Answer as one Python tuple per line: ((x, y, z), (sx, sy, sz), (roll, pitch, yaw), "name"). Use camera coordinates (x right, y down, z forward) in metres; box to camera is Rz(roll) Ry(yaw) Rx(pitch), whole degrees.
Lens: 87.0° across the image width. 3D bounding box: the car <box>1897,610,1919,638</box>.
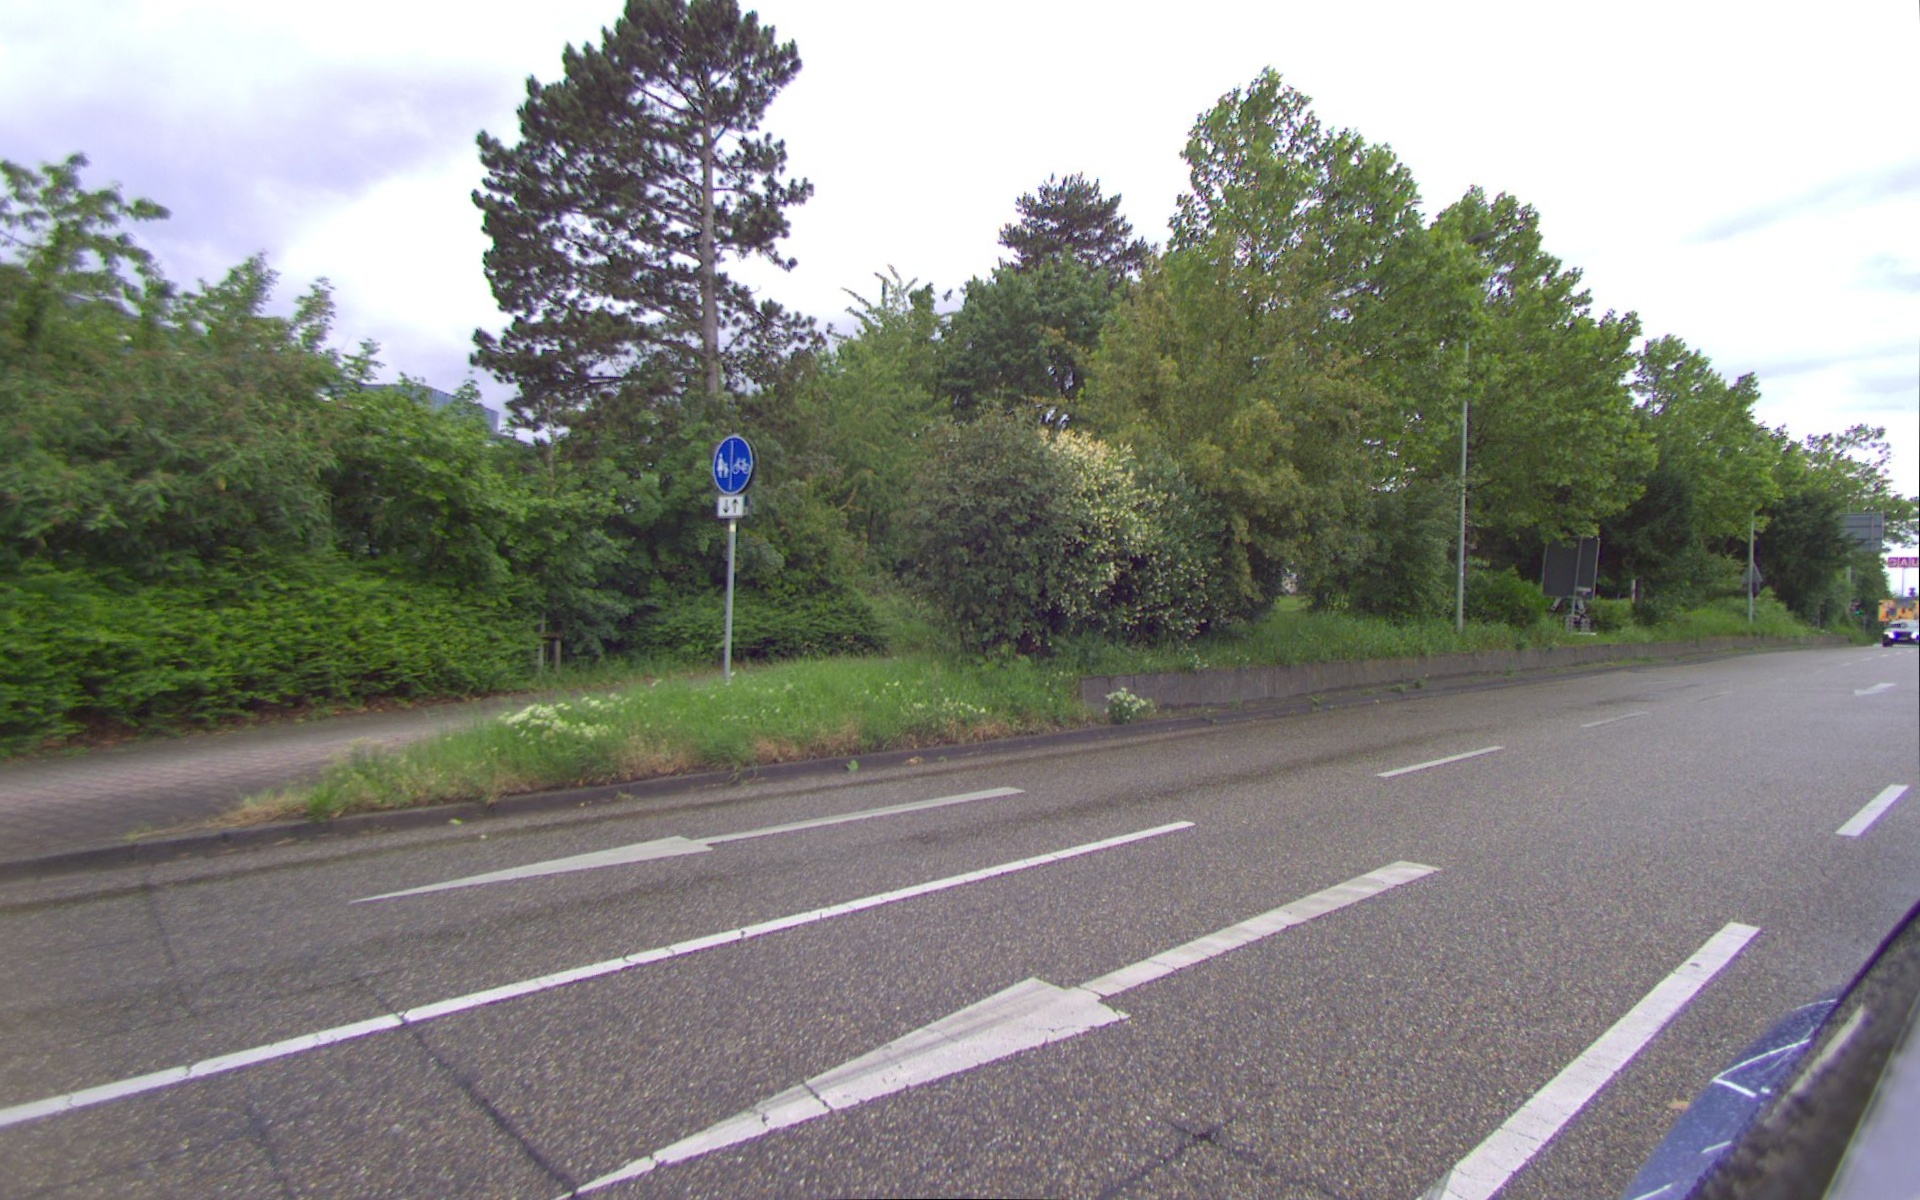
((57.458, 1.398, 60.625), (3.778, 1.643, 1.702), (0, -1, -44), "car")
